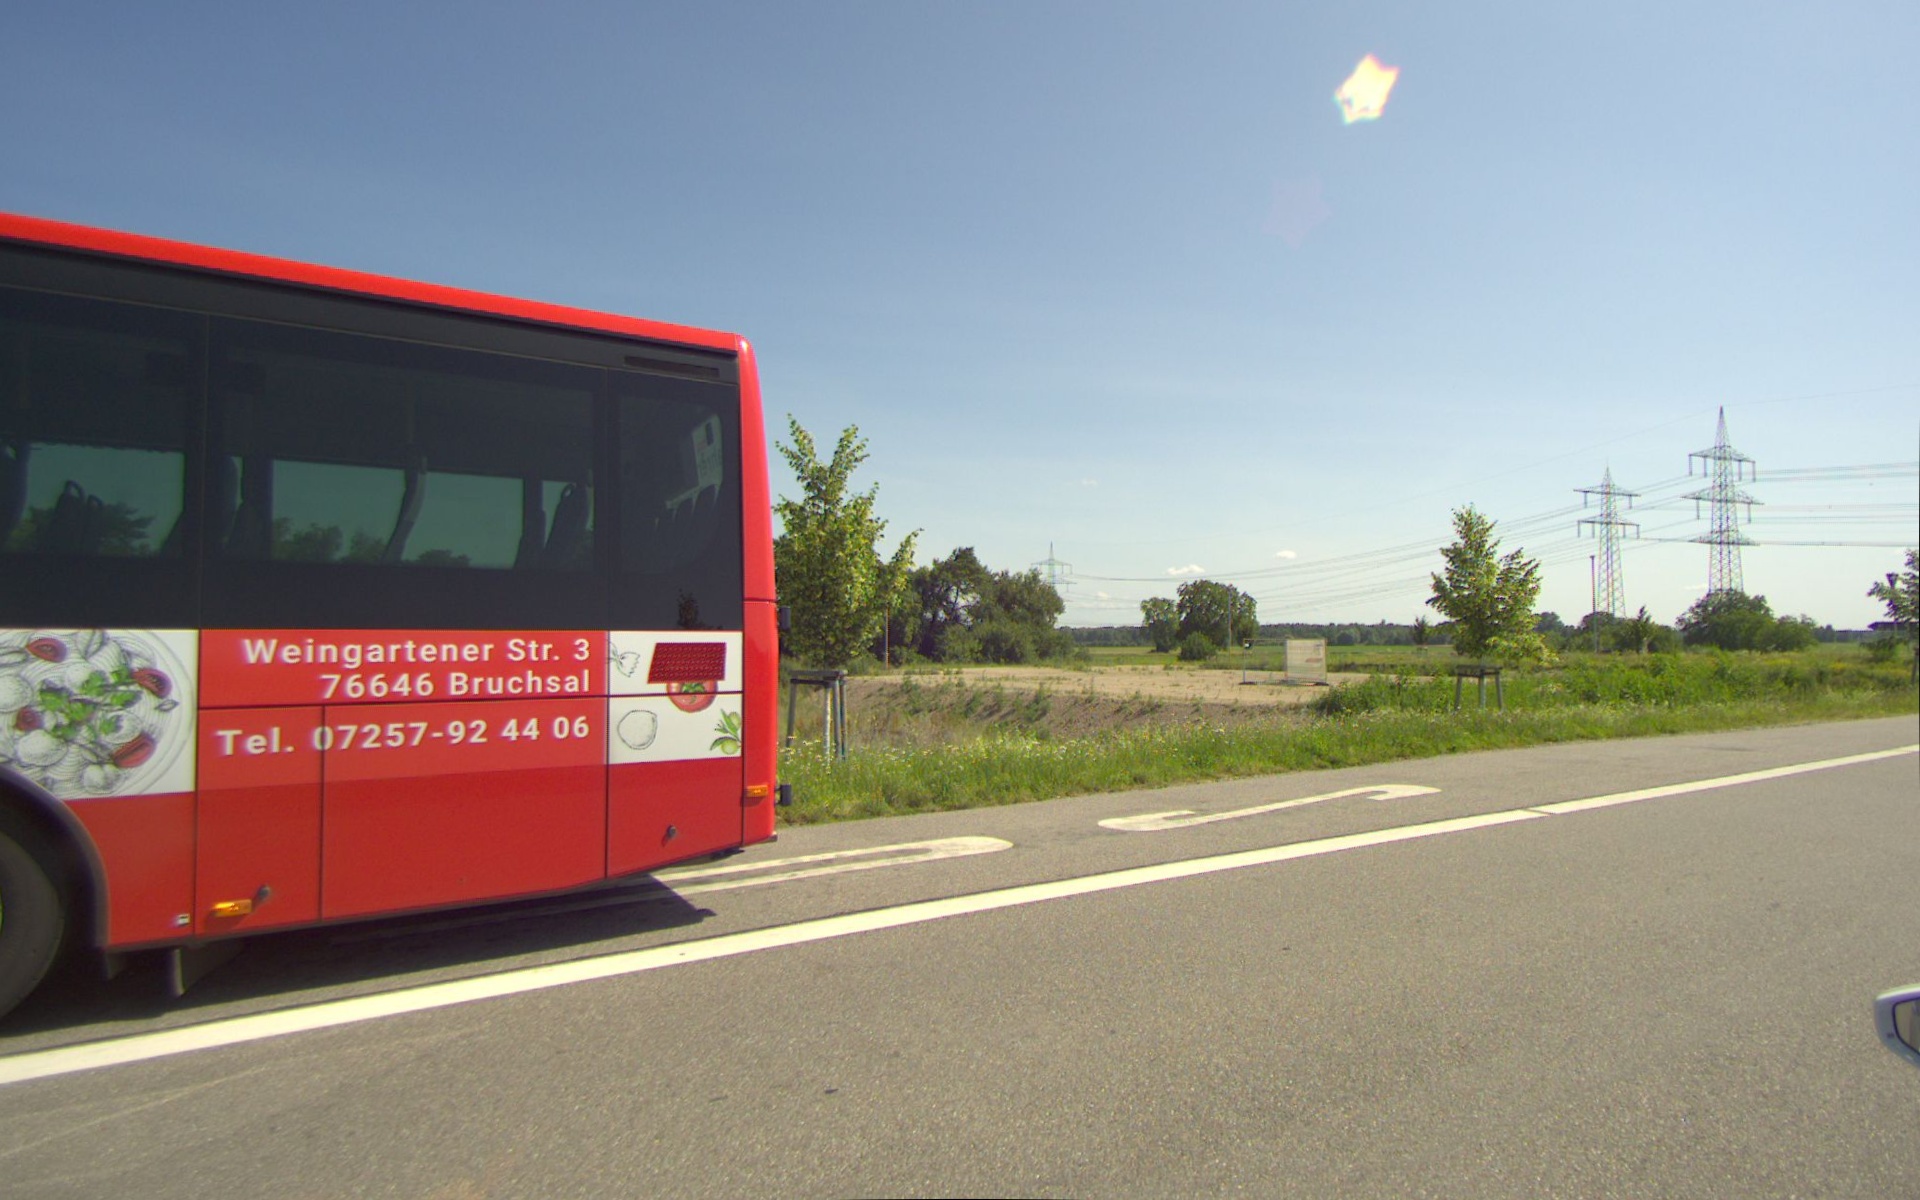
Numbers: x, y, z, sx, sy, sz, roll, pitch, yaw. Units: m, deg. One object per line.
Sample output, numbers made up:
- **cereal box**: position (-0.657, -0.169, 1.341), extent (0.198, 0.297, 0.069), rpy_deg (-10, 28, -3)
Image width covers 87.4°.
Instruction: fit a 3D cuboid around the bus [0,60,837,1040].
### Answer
- **bus**: position (-6.472, -0.185, 3.071), extent (12.090, 3.330, 2.780), rpy_deg (1, -2, -31)
